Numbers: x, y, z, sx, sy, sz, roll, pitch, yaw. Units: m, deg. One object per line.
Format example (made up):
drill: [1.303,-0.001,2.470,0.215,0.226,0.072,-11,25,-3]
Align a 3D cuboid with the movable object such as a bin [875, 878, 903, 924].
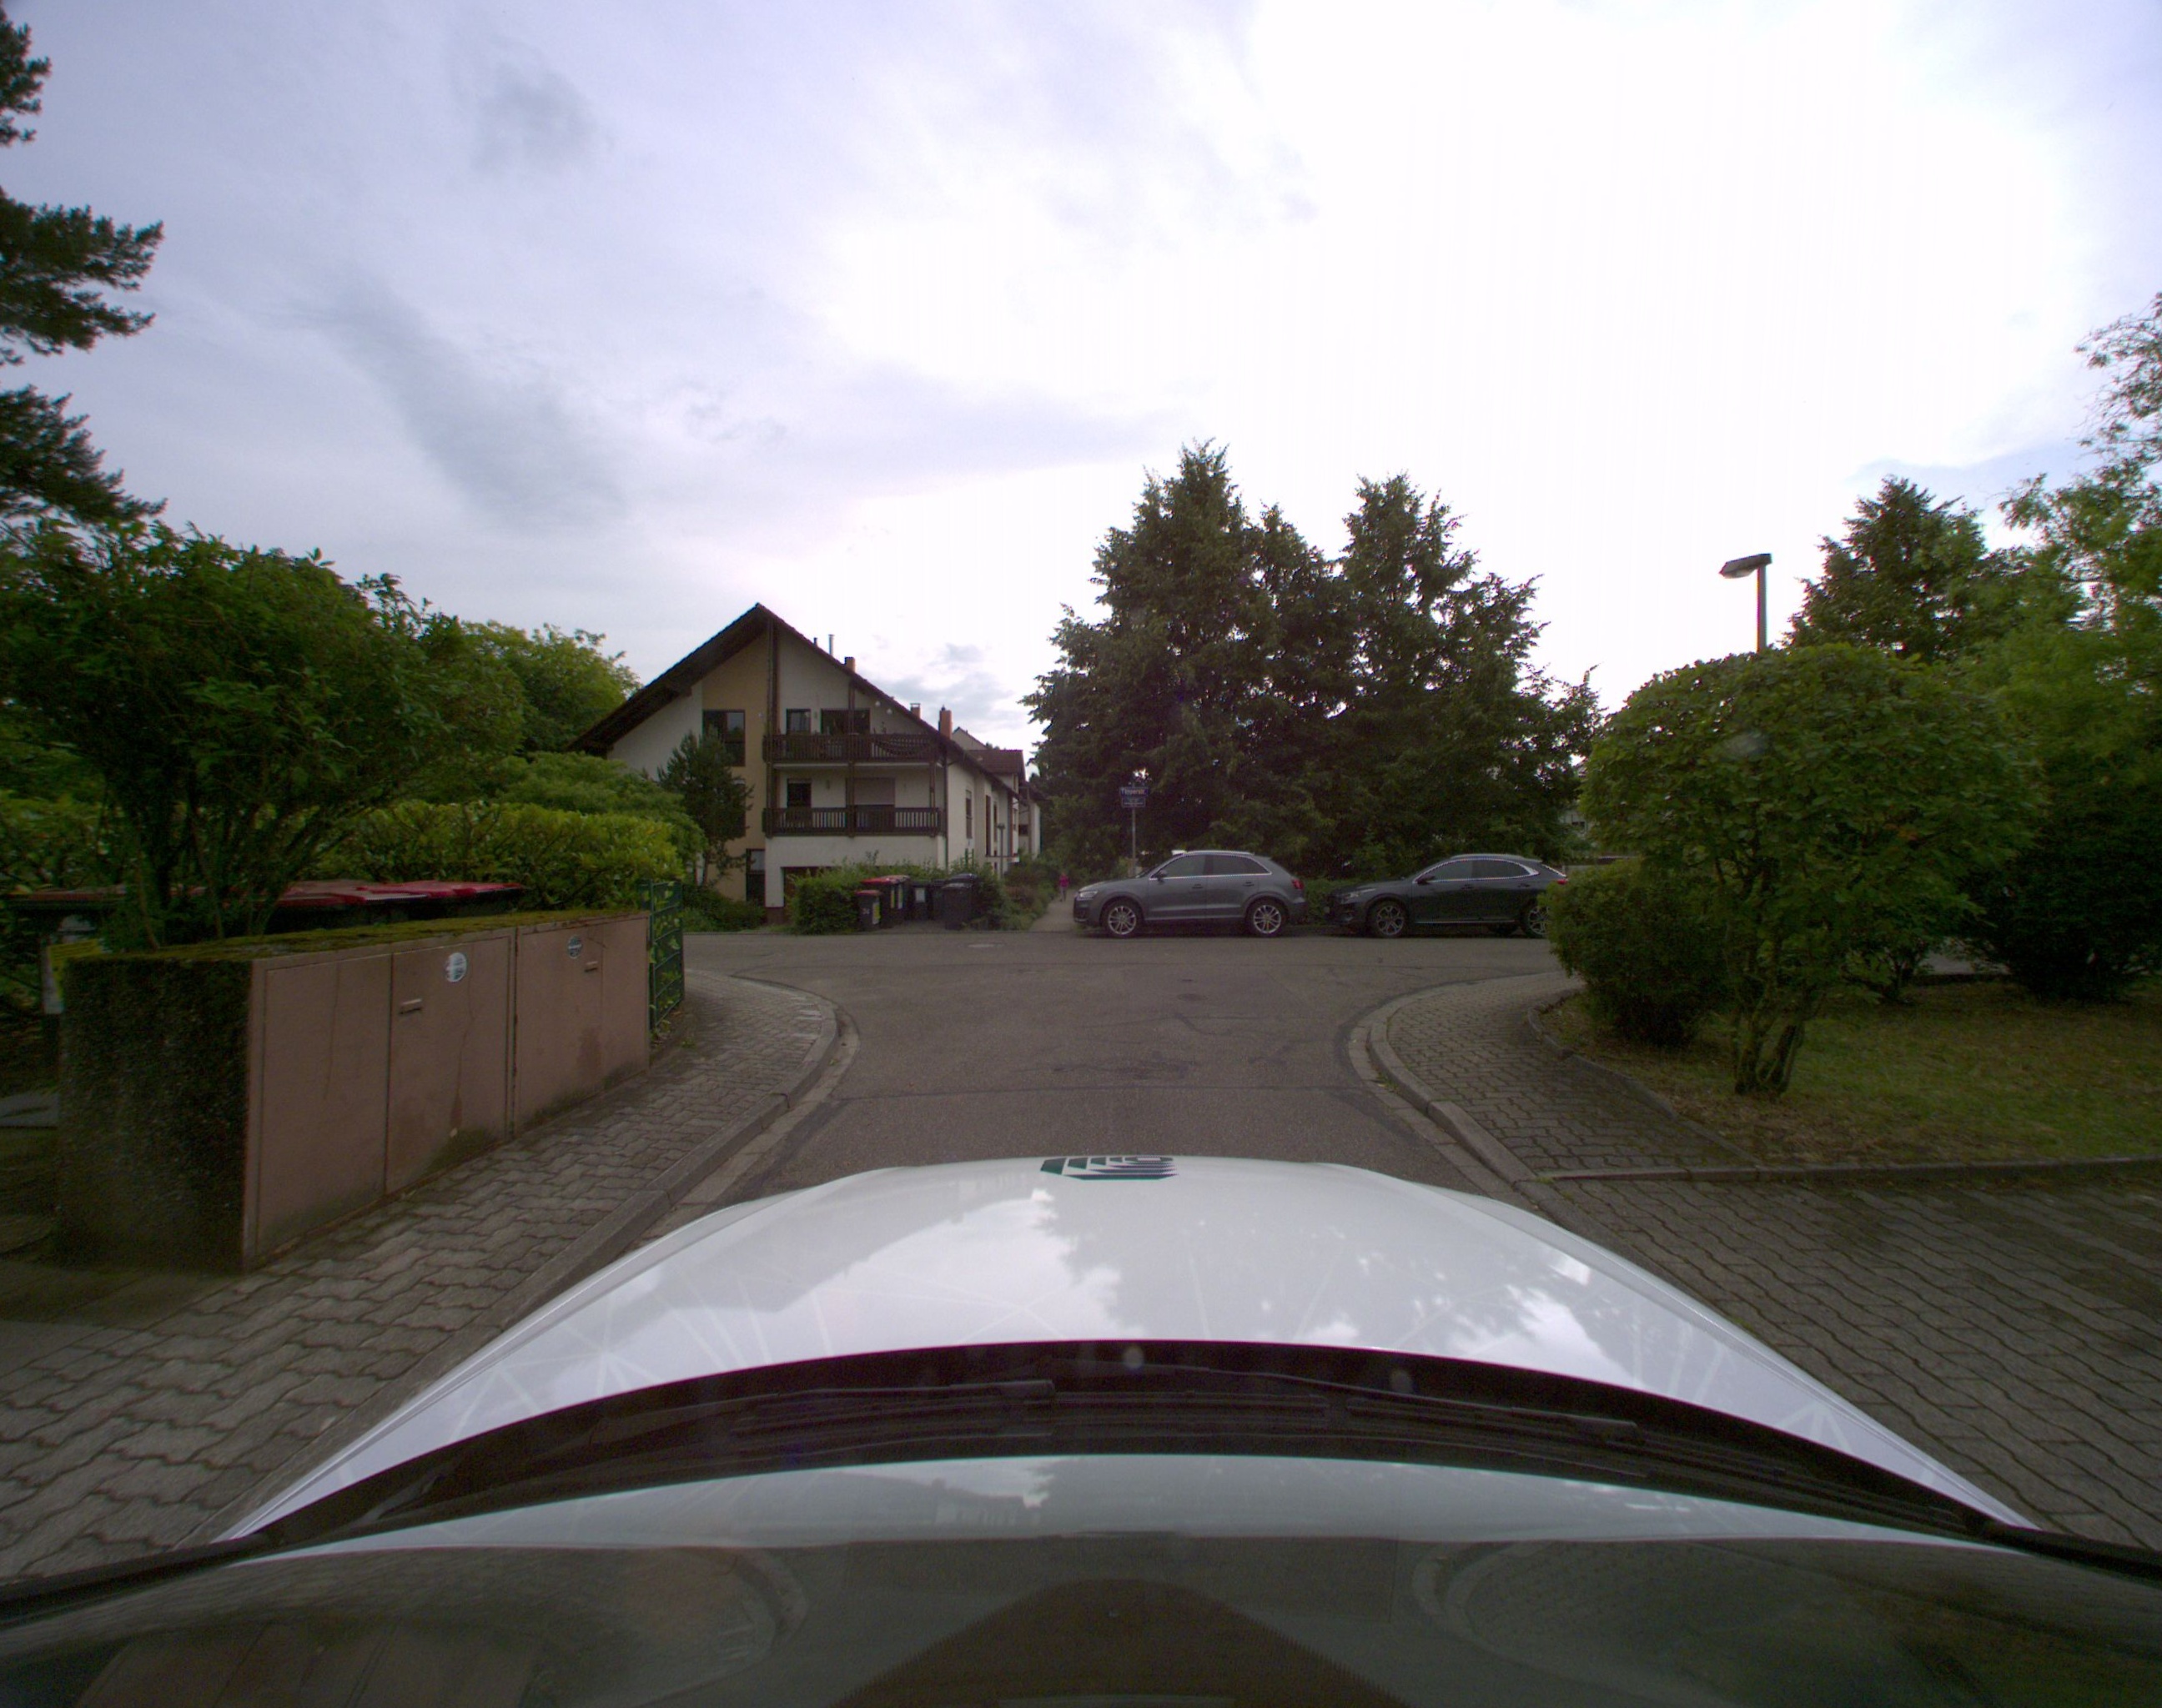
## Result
movable object such as a bin: [-4.284,1.045,18.163,0.536,0.994,0.337,0,0,-2]

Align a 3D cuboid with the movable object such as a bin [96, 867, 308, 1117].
movable object such as a bin: [-4.502,0.671,4.203,0.504,1.187,0.515,-2,0,-1]

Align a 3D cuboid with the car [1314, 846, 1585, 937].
car: [6.558,0.680,14.876,4.162,1.531,1.749,0,-2,5]

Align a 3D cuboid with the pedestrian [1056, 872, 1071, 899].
pedestrian: [-0.991,1.796,46.140,0.813,1.517,0.438,-1,-1,-2]

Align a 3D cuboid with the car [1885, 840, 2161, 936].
car: [17.513,0.599,14.494,4.519,1.594,1.764,0,-2,2]

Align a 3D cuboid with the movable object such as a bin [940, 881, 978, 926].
movable object such as a bin: [-2.686,1.087,17.979,0.731,0.953,0.584,0,0,0]

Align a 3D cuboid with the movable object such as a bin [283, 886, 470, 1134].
movable object such as a bin: [-3.675,0.780,4.285,0.504,1.187,0.515,-2,0,-1]

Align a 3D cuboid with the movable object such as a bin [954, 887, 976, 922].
movable object such as a bin: [-2.687,1.165,18.957,0.458,0.797,0.379,0,0,-2]

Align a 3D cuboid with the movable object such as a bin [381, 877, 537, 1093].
movable object such as a bin: [-3.682,0.747,4.854,0.504,1.187,0.515,-2,0,-1]

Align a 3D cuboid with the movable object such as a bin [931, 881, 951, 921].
movable object such as a bin: [-3.229,1.076,18.797,0.385,0.890,0.379,0,0,-2]

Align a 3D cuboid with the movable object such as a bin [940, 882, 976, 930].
movable object such as a bin: [-2.587,1.090,17.159,0.636,0.953,0.723,0,0,-1]

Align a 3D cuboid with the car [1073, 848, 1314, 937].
car: [1.988,0.702,15.213,4.223,1.531,1.747,0,-2,0]

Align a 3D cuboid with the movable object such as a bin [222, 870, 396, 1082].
movable object such as a bin: [-4.543,0.688,4.821,0.504,1.165,0.515,-2,0,-1]

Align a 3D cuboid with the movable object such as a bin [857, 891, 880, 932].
movable object such as a bin: [-4.436,1.196,17.007,0.385,0.836,0.379,0,0,-2]

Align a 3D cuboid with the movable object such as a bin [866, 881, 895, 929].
movable object such as a bin: [-4.282,1.092,17.427,0.536,0.994,0.379,0,0,-2]

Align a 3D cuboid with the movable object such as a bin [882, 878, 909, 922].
movable object such as a bin: [-4.251,1.053,18.675,0.536,0.994,0.337,0,0,-2]

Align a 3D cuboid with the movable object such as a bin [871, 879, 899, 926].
movable object such as a bin: [-4.278,1.054,17.802,0.536,0.994,0.337,0,0,-2]

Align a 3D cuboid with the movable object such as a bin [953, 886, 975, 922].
movable object such as a bin: [-2.666,1.140,18.542,0.458,0.797,0.379,0,0,-2]

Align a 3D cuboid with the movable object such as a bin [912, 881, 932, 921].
movable object such as a bin: [-3.668,1.080,18.784,0.385,0.901,0.379,0,0,-2]
